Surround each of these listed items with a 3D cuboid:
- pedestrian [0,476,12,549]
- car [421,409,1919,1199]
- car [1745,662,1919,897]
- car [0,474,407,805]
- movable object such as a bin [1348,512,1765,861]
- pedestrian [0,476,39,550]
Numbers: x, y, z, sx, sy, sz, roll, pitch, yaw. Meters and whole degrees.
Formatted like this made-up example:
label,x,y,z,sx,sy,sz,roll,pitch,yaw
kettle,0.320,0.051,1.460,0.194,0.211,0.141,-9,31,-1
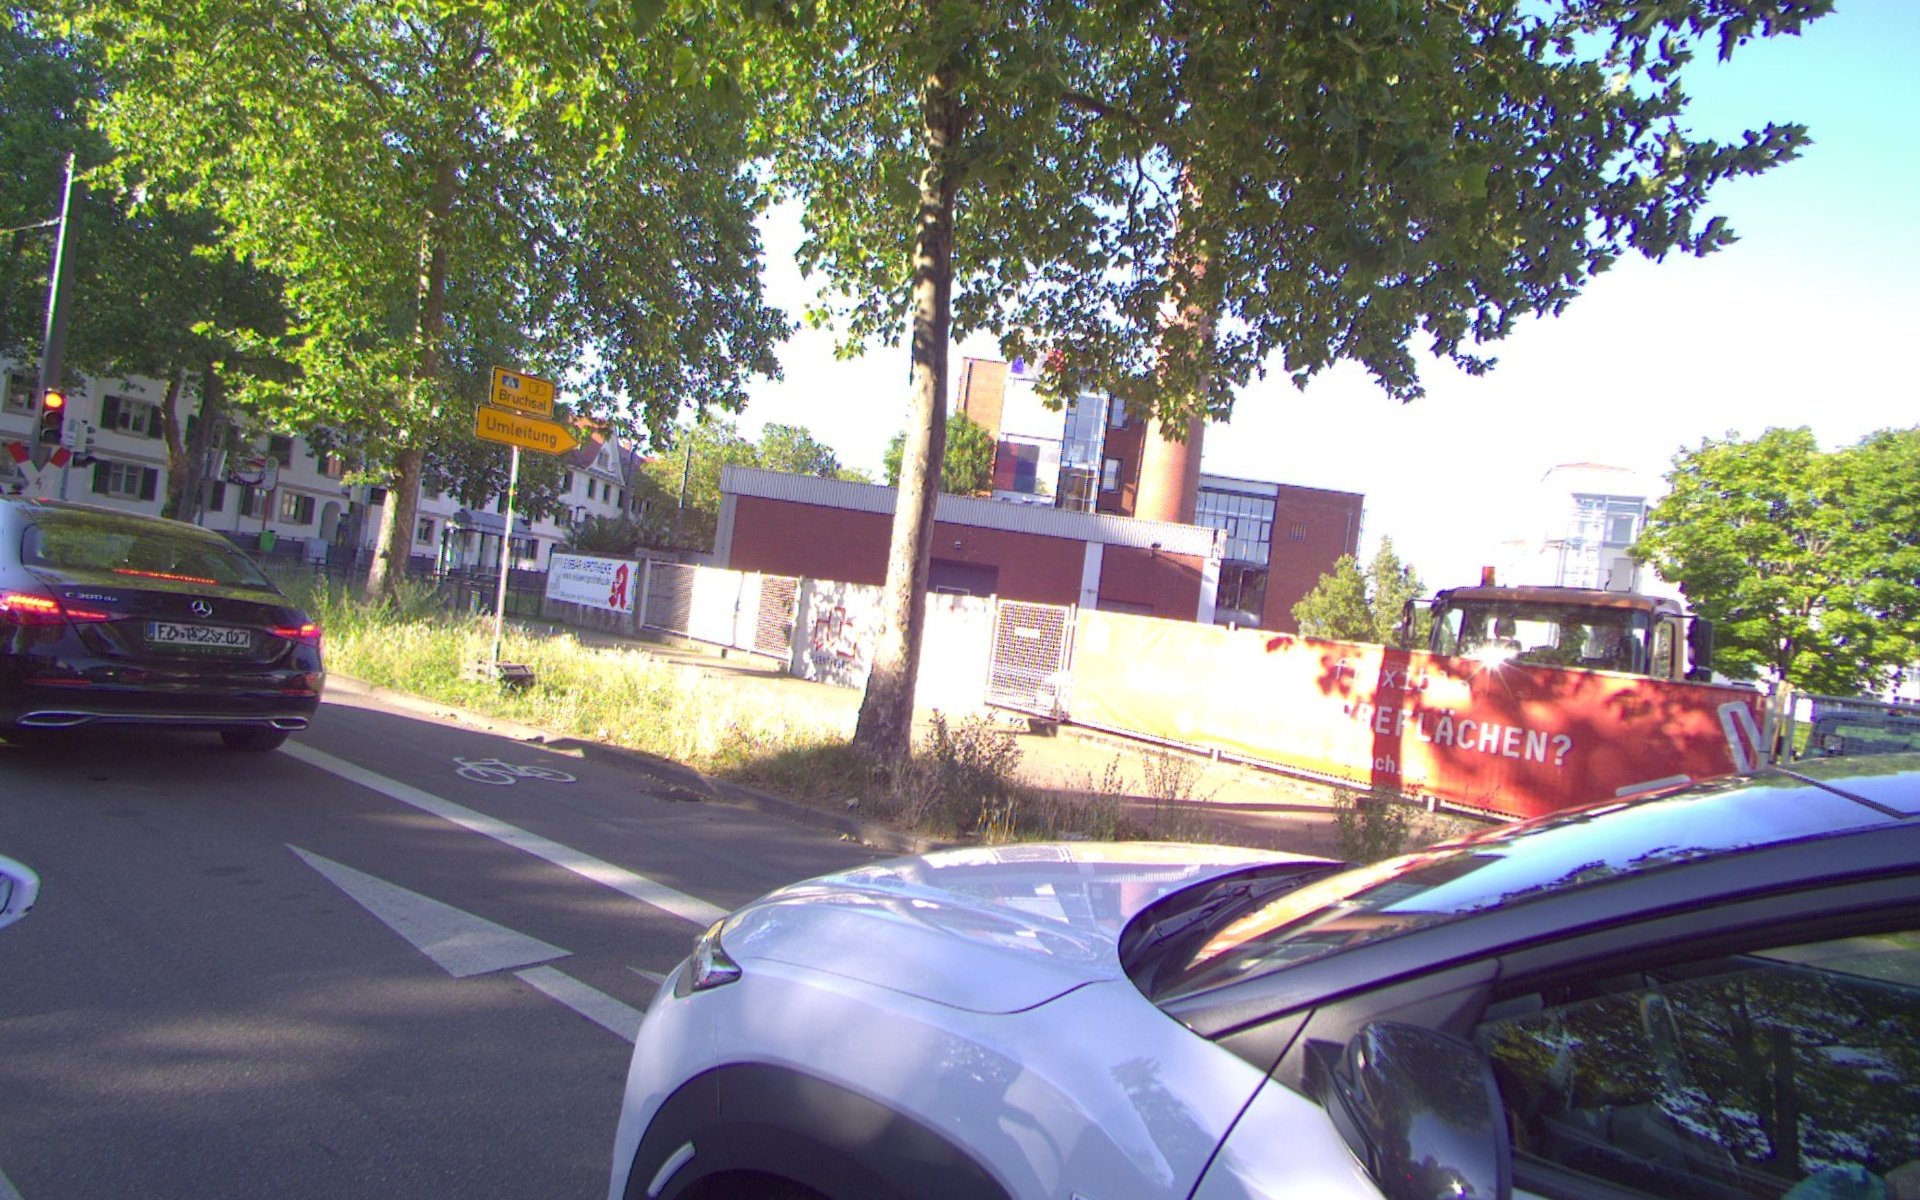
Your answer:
label,x,y,z,sx,sy,sz,roll,pitch,yaw
pedestrian,-26.121,-2.396,26.919,0.825,1.940,0.707,7,-1,28
car,1.280,0.833,1.416,3.901,1.616,1.893,9,-1,33
car,9.570,1.823,10.154,2.016,1.849,4.583,6,-3,44
car,-5.889,0.033,6.642,4.307,1.508,1.893,9,-1,31
movable object such as a bin,7.641,1.033,12.412,3.172,3.084,6.266,6,-2,41
pedestrian,-26.523,-2.432,28.139,0.825,1.940,0.707,7,-1,28
